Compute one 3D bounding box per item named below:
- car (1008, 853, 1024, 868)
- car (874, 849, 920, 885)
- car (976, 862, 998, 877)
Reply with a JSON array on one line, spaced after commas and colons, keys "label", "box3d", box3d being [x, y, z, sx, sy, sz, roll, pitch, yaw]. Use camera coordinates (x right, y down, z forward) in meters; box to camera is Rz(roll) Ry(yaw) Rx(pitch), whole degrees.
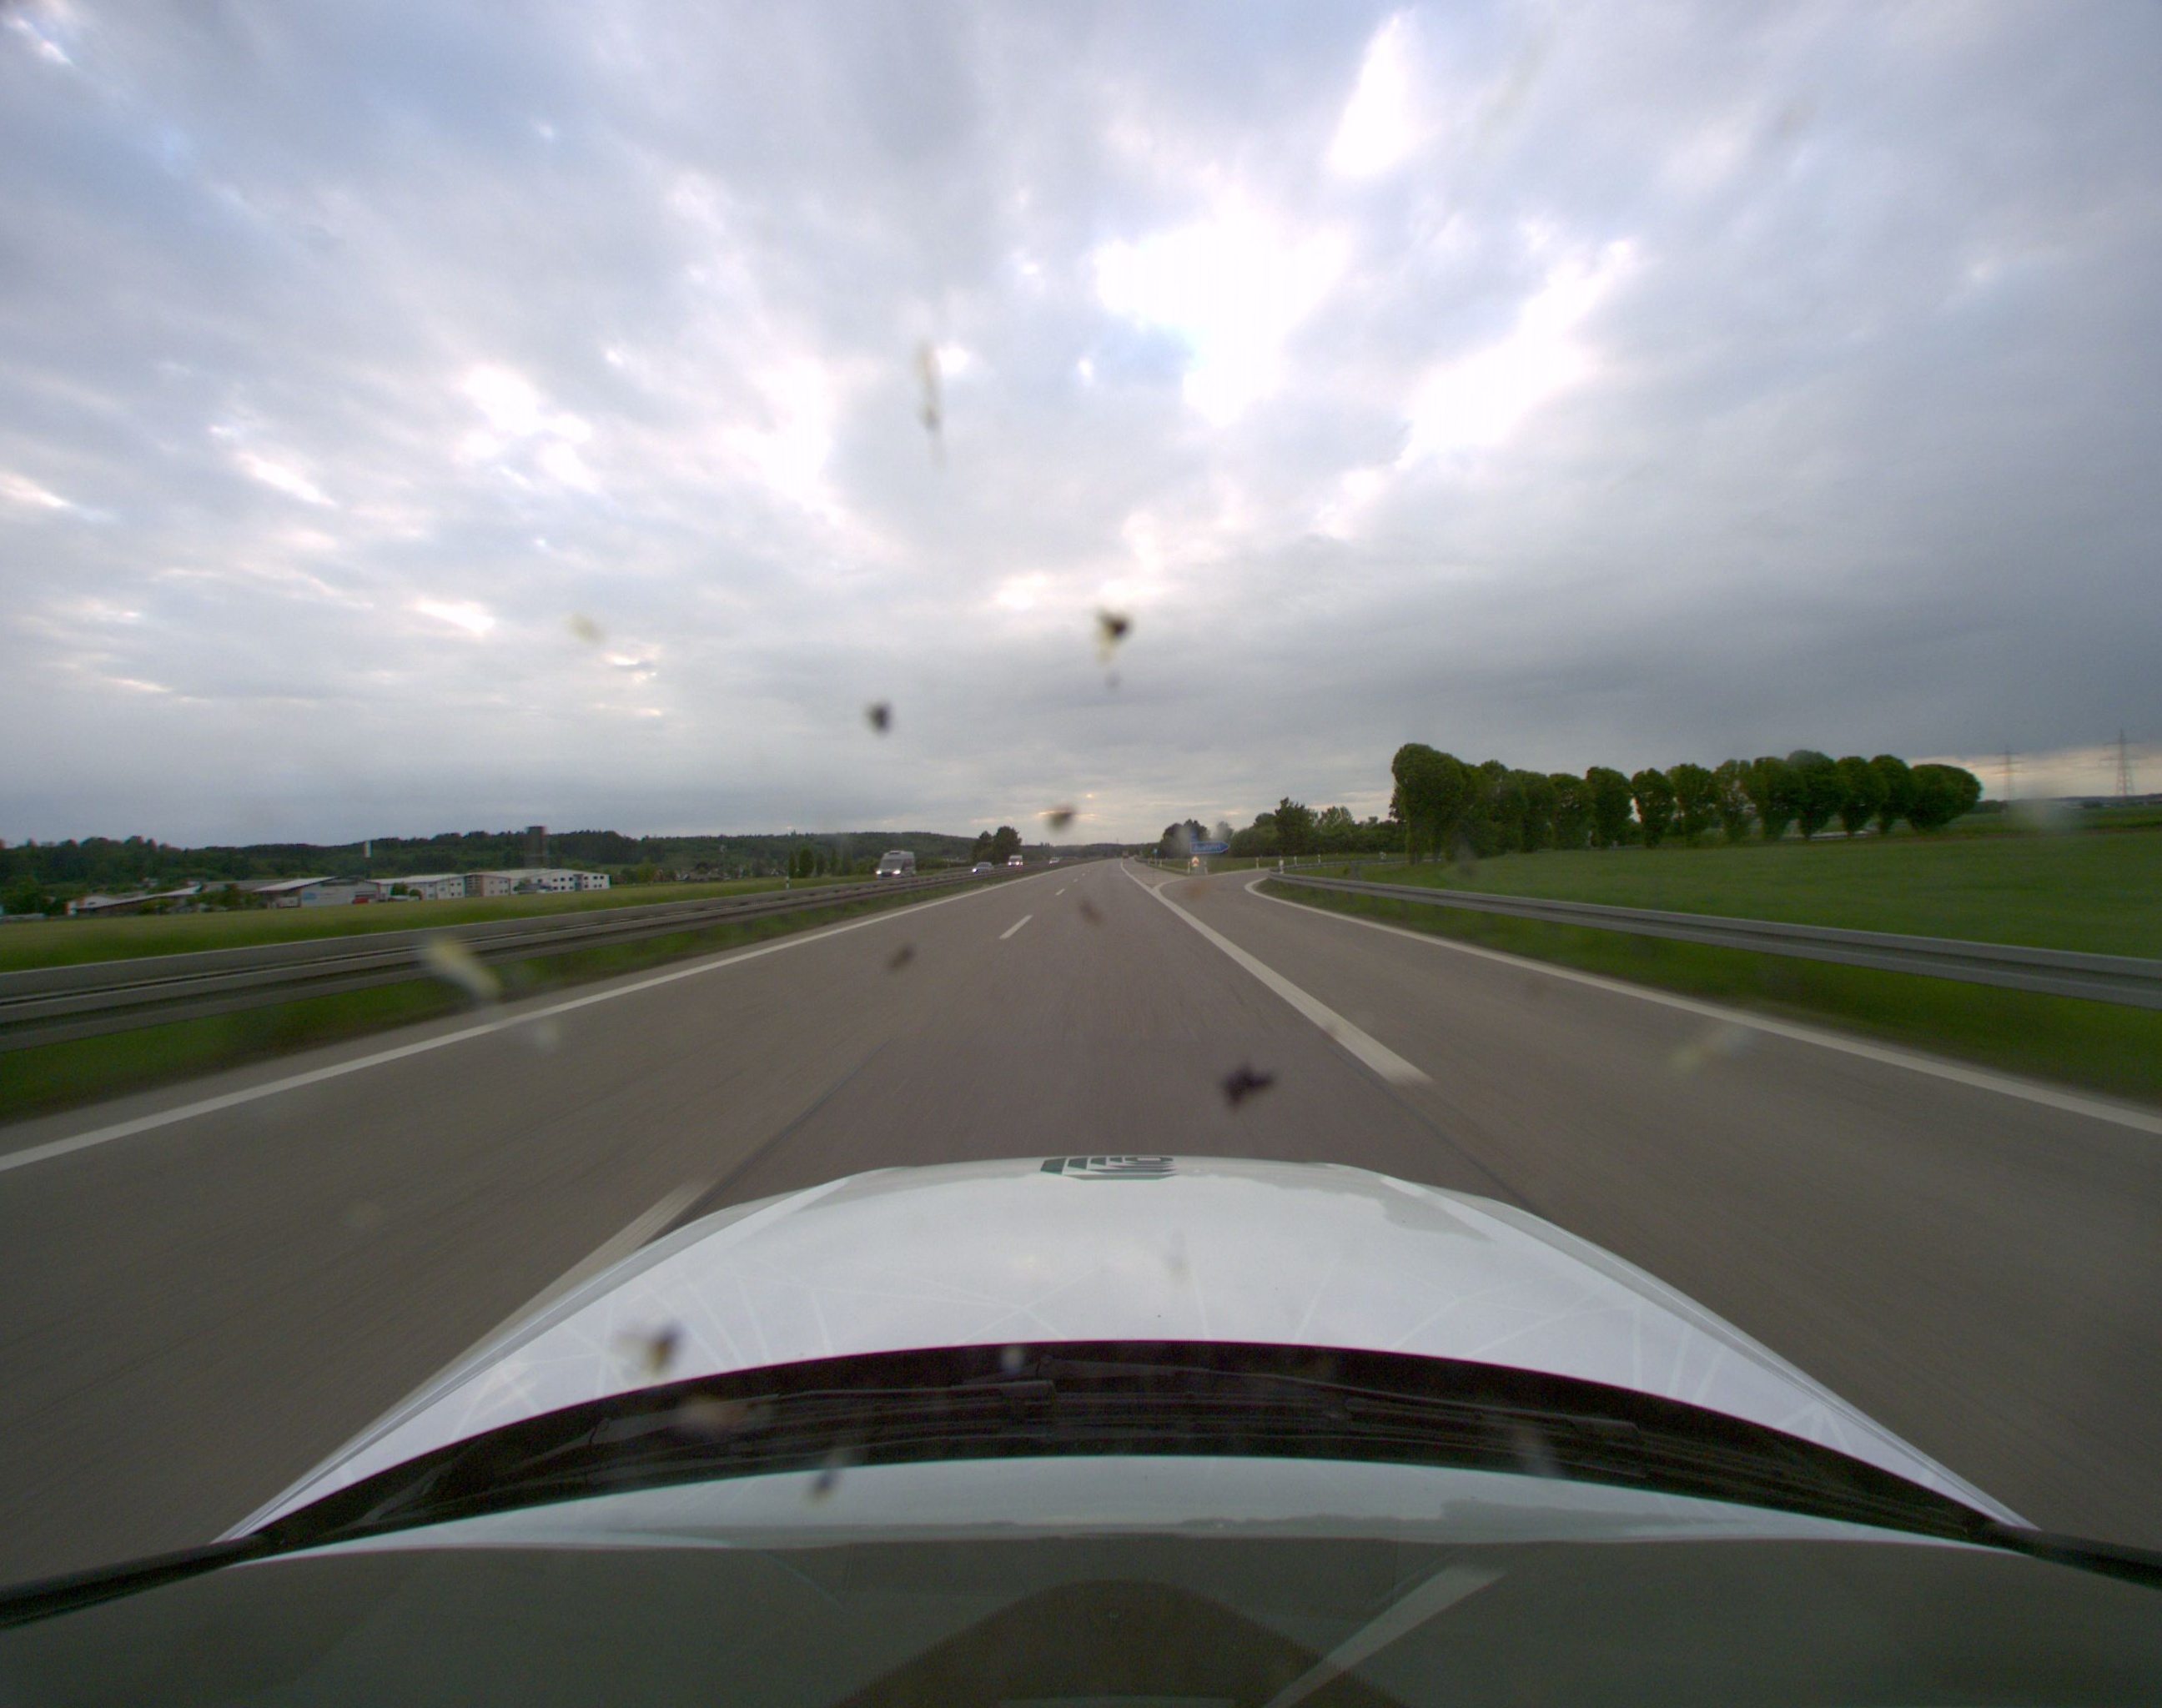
[{"label": "car", "box3d": [-11.900, 1.174, 149.413, 2.137, 2.483, 6.592, -1, 0, 2]}, {"label": "car", "box3d": [-15.407, 1.055, 68.532, 2.098, 2.800, 6.430, -1, 0, 2]}, {"label": "car", "box3d": [-10.194, 1.705, 88.672, 1.740, 1.508, 4.202, -1, 0, 2]}]
